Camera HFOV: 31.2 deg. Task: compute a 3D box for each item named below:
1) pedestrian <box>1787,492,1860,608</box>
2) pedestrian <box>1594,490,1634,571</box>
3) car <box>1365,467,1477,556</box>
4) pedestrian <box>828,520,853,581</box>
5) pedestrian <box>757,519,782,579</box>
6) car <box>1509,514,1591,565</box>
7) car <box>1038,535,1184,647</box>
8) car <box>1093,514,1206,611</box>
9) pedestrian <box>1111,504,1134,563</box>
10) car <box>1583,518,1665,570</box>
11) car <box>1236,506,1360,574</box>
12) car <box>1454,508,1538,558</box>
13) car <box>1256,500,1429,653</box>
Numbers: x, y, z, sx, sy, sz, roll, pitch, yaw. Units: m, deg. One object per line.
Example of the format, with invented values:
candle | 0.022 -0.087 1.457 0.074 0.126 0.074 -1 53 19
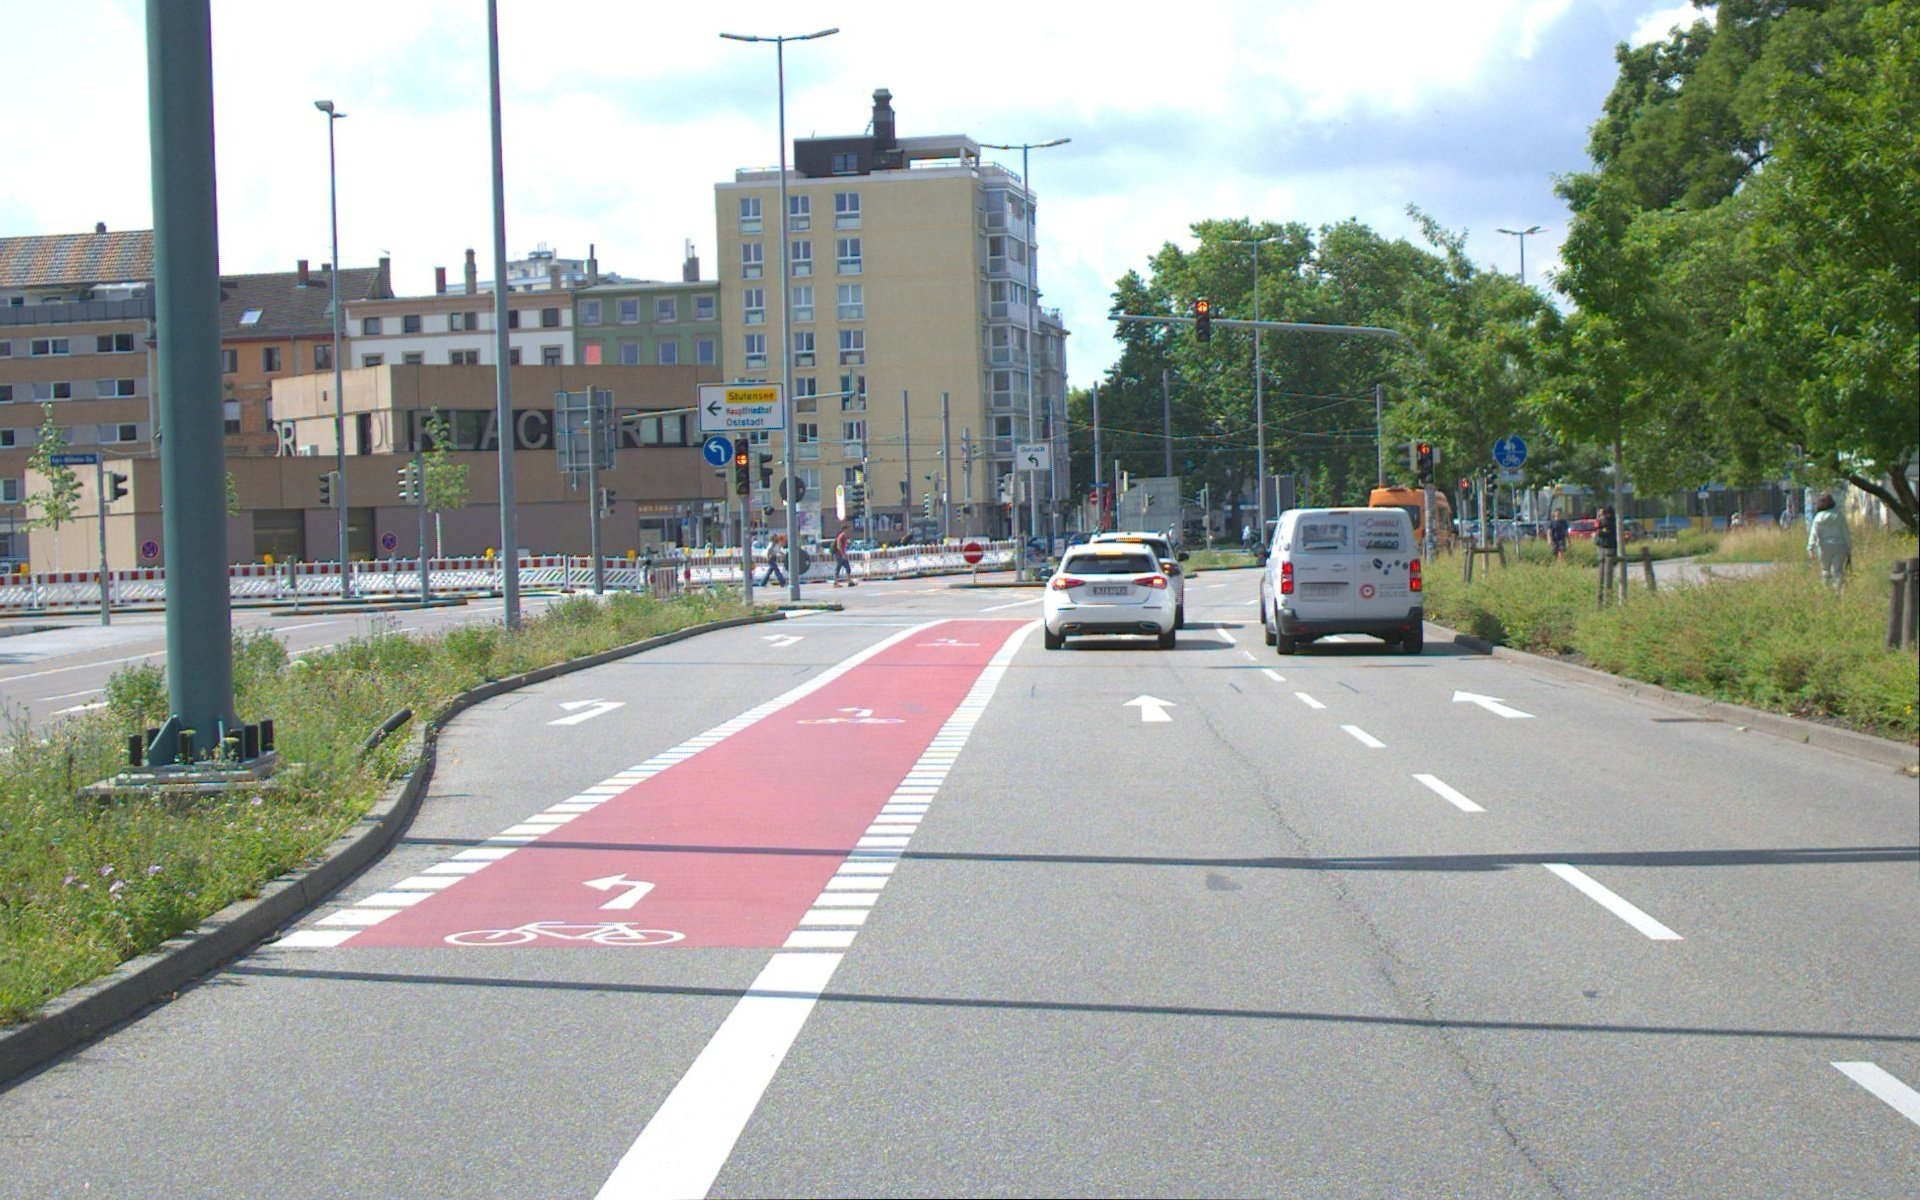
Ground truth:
pedestrian | 12.355 -0.715 49.203 0.868 1.633 0.721 -2 1 4
pedestrian | 14.257 -1.521 74.962 0.742 1.729 0.679 -2 1 6
car | 15.060 -2.902 112.140 2.133 2.771 4.632 -2 1 26
pedestrian | -3.428 -1.408 98.392 0.525 1.727 0.623 -1 1 12
pedestrian | -5.535 -1.482 99.722 0.525 1.727 0.623 -1 1 12
car | 24.167 -2.478 140.731 1.994 1.932 4.632 -2 1 26
car | 2.130 -0.162 48.154 1.904 1.419 4.385 -2 1 3
car | 3.087 -0.638 56.222 1.791 1.534 4.011 0 1 3
pedestrian | 4.678 -1.920 99.050 0.525 1.678 0.623 -1 1 12
car | 26.581 -2.238 137.450 1.994 1.932 4.632 -2 1 26
car | 9.434 -1.661 95.720 1.997 1.809 3.994 2 1 28
car | 20.993 -2.619 134.519 1.996 1.820 3.994 -2 1 28
car | 5.008 -0.356 45.578 1.942 1.863 4.825 -2 1 3
